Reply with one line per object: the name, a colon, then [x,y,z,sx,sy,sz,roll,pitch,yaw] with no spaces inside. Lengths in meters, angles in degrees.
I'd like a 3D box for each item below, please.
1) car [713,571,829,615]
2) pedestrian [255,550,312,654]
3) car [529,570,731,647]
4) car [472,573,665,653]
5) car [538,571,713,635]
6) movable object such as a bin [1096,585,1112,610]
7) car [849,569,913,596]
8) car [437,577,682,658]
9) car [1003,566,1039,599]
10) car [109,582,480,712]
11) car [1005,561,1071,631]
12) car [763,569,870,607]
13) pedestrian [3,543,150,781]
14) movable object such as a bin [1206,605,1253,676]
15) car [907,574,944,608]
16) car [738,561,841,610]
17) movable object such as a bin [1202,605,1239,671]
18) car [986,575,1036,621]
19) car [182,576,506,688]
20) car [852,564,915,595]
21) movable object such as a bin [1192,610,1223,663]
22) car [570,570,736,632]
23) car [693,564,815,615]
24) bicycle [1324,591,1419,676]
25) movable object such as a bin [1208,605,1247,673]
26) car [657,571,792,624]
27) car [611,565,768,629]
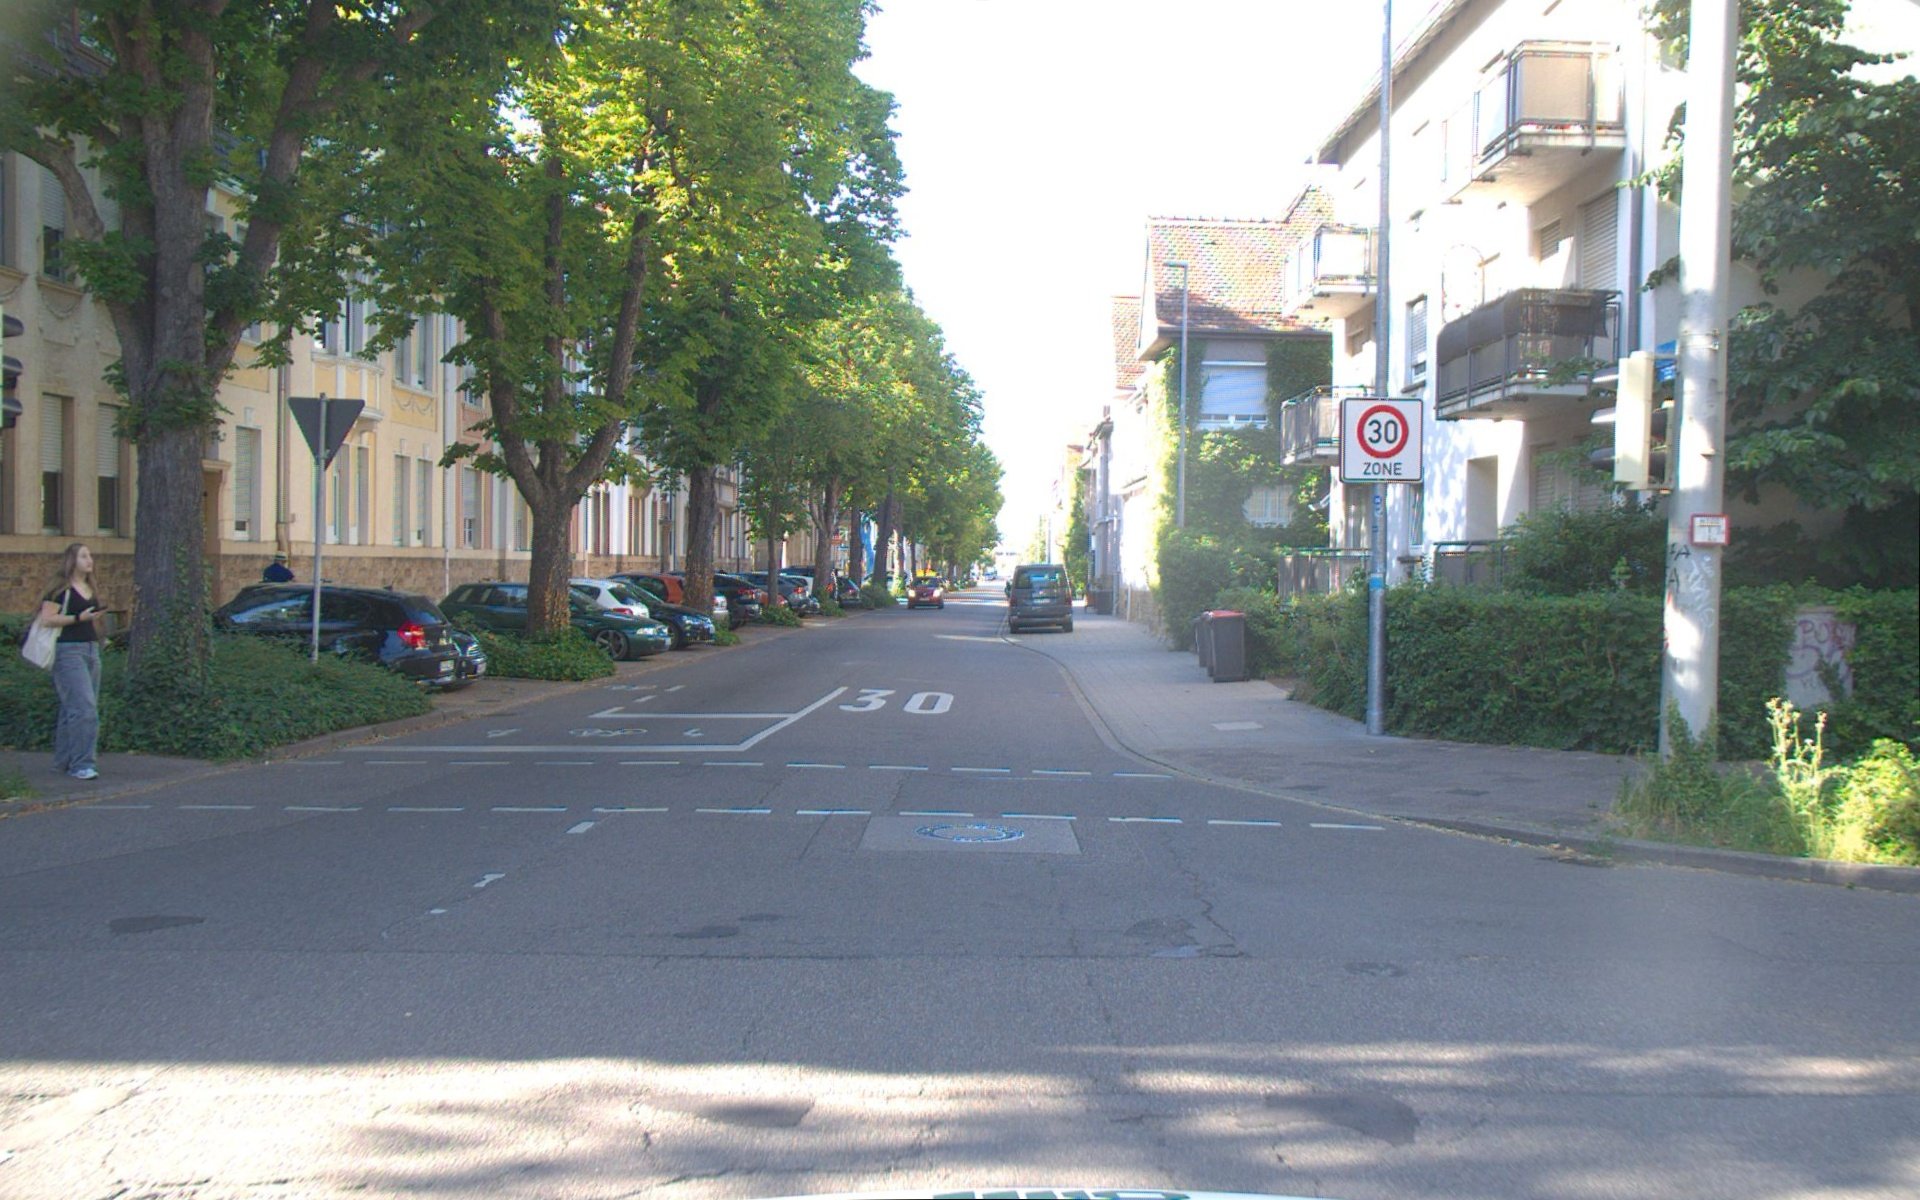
car: [-6.860,-0.265,60.319,3.820,1.471,1.861,2,1,7]
pedestrian: [-11.146,0.024,27.284,0.450,1.687,0.895,1,1,10]
car: [-7.077,0.174,35.697,3.904,1.508,1.786,2,1,3]
car: [-7.825,0.247,33.241,3.361,1.477,1.704,1,0,4]
car: [-8.207,0.075,40.761,3.903,1.534,1.723,0,1,3]
movable object such as a bin: [6.118,-0.108,70.350,0.634,1.058,0.828,0,1,0]
car: [-4.951,-1.110,104.189,3.907,1.489,1.797,3,0,-2]
car: [-7.438,0.323,30.977,4.124,1.372,1.703,1,0,1]
car: [3.113,-0.908,84.823,1.664,1.566,4.156,-2,1,0]
car: [-7.943,0.536,19.943,3.802,1.501,1.616,0,0,1]
car: [2.325,-0.172,49.776,1.826,1.949,4.784,2,1,2]
car: [-6.175,-0.523,71.569,4.439,1.529,1.892,1,1,0]
pedestrian: [-6.573,0.439,12.326,0.679,1.711,0.681,1,1,12]
movable object such as a bin: [4.257,0.628,26.141,0.585,1.062,0.707,-3,1,-1]
car: [-1.627,-0.448,79.177,1.607,1.534,3.703,0,1,1]
car: [-6.863,-0.596,66.914,3.897,1.888,1.829,1,1,0]
movable object such as a bin: [4.354,0.631,27.658,0.473,1.062,0.618,-3,1,-1]
car: [1.940,-0.072,61.820,1.752,1.628,4.001,-2,0,3]
car: [-8.303,0.412,22.546,3.806,1.439,1.614,1,1,-4]
car: [-4.931,-1.316,106.794,3.907,1.791,1.797,3,0,-2]
movable object such as a bin: [4.617,0.677,30.851,0.493,0.931,0.573,-3,1,4]
car: [-7.968,0.008,43.136,3.904,1.428,1.831,2,1,3]
car: [-7.092,-0.367,57.228,3.905,1.620,1.860,2,1,1]
bicycle: [6.319,0.497,25.359,1.566,1.207,0.634,-3,2,-43]
movable object such as a bin: [4.347,0.631,26.876,0.473,1.062,0.657,-3,1,-1]
car: [-7.323,-0.090,51.680,3.904,1.541,1.748,1,0,1]
car: [-7.364,-0.096,45.281,3.904,1.594,1.864,2,1,3]
